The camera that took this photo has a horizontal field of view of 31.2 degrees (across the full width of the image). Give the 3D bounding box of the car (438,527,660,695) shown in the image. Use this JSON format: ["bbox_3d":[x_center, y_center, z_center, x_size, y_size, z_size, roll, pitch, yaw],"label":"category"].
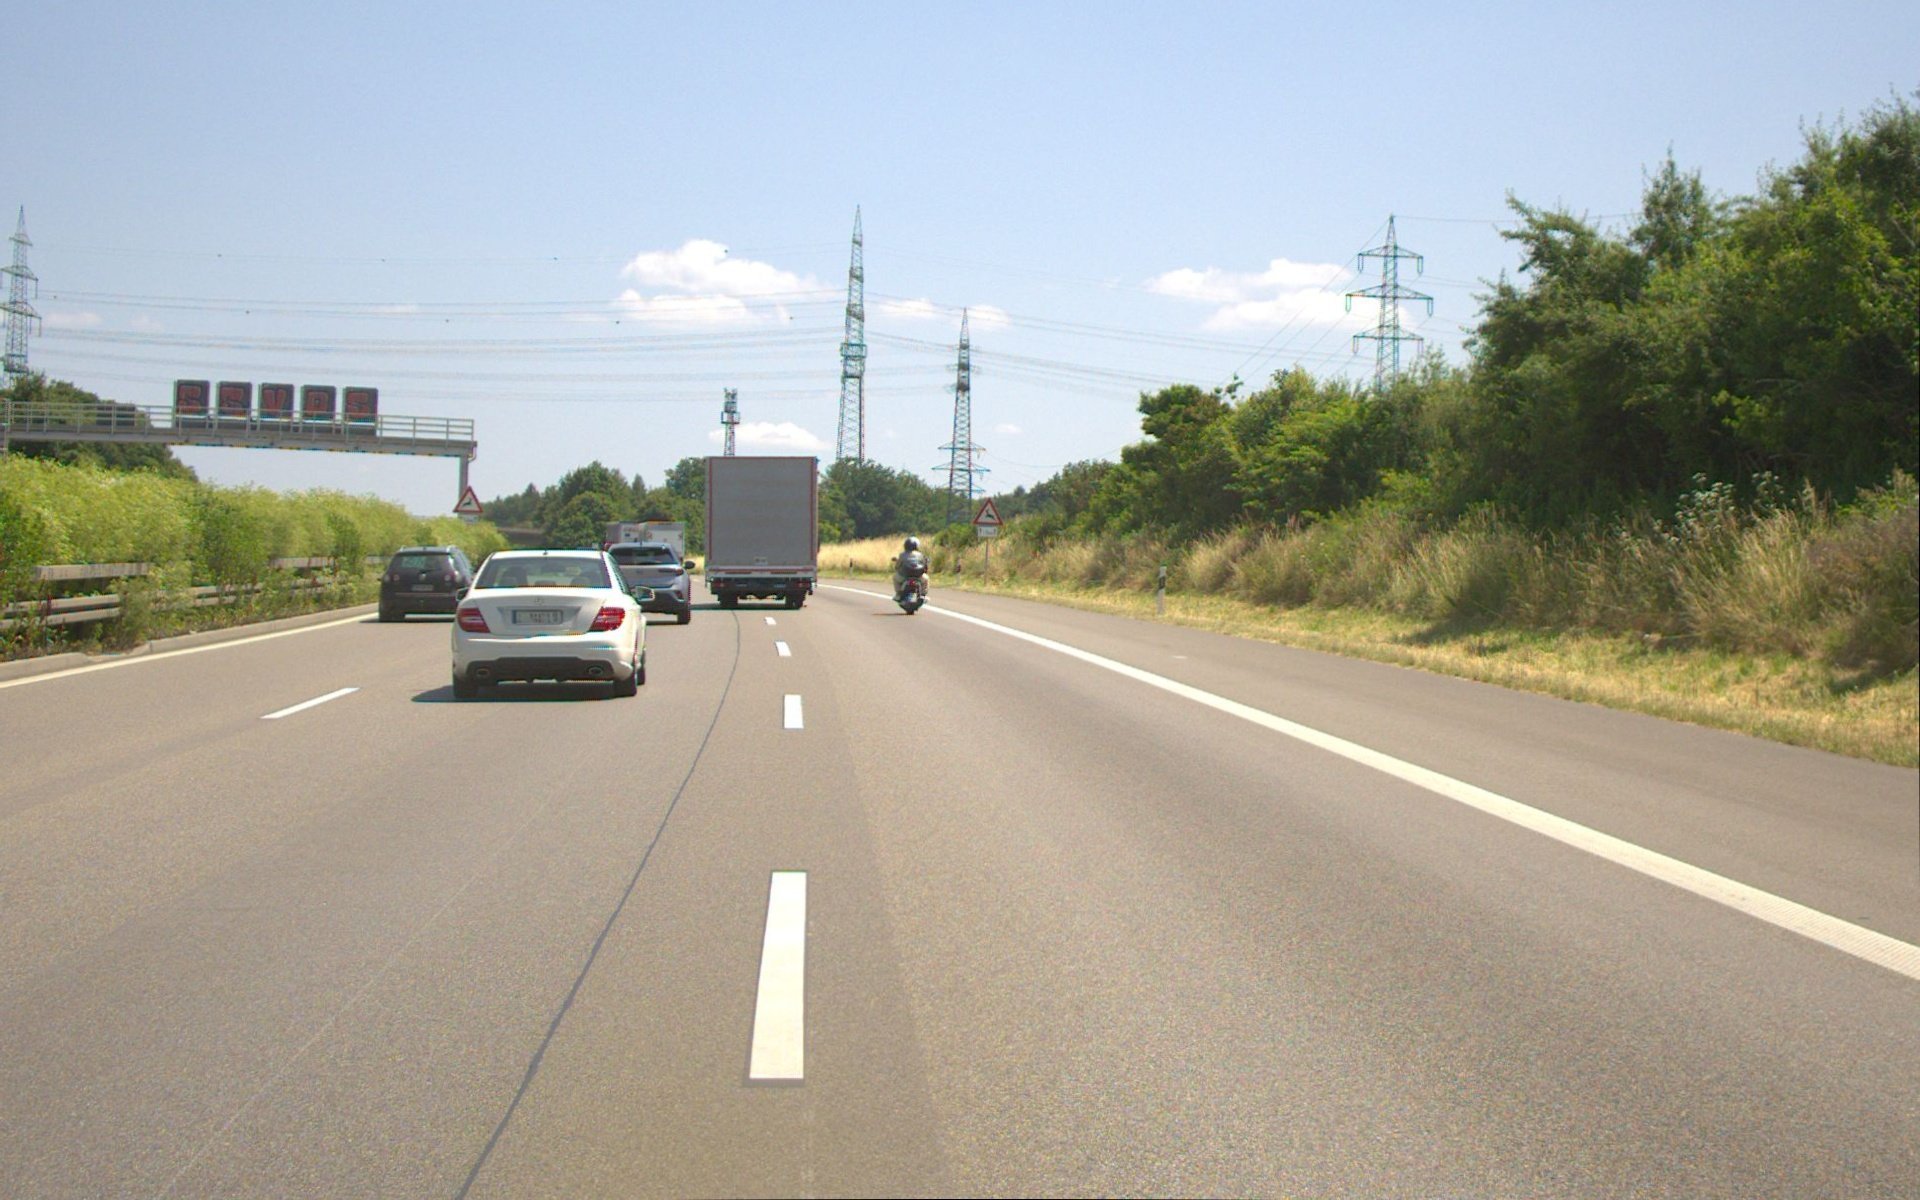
[{"bbox_3d":[-3.989,0.062,33.911,1.819,1.535,3.915,0,1,-2],"label":"car"}]

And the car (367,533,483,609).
[{"bbox_3d":[-10.448,-0.590,67.367,1.756,1.424,4.001,0,1,-2],"label":"car"}]

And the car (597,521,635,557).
[{"bbox_3d":[-18.842,-3.368,188.517,1.901,1.919,4.001,0,1,-3],"label":"car"}]

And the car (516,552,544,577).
[{"bbox_3d":[-32.693,-2.710,261.457,1.993,1.853,4.001,0,1,-6],"label":"car"}]

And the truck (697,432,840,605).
[{"bbox_3d":[-4.626,-1.914,82.518,3.221,3.911,9.062,0,1,-4],"label":"truck"}]

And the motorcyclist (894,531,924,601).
[{"bbox_3d":[-1.096,-0.736,73.404,0.572,1.474,0.701,-1,1,-6],"label":"motorcyclist"}]

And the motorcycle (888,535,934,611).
[{"bbox_3d":[-1.050,-0.575,73.416,0.809,1.602,1.783,0,1,-6],"label":"motorcycle"}]

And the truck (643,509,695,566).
[{"bbox_3d":[-20.168,-4.311,237.725,3.483,3.899,7.291,0,1,-6],"label":"truck"}]

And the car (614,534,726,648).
[{"bbox_3d":[-5.413,-0.202,64.183,1.993,2.007,4.001,-1,1,-5],"label":"car"}]
